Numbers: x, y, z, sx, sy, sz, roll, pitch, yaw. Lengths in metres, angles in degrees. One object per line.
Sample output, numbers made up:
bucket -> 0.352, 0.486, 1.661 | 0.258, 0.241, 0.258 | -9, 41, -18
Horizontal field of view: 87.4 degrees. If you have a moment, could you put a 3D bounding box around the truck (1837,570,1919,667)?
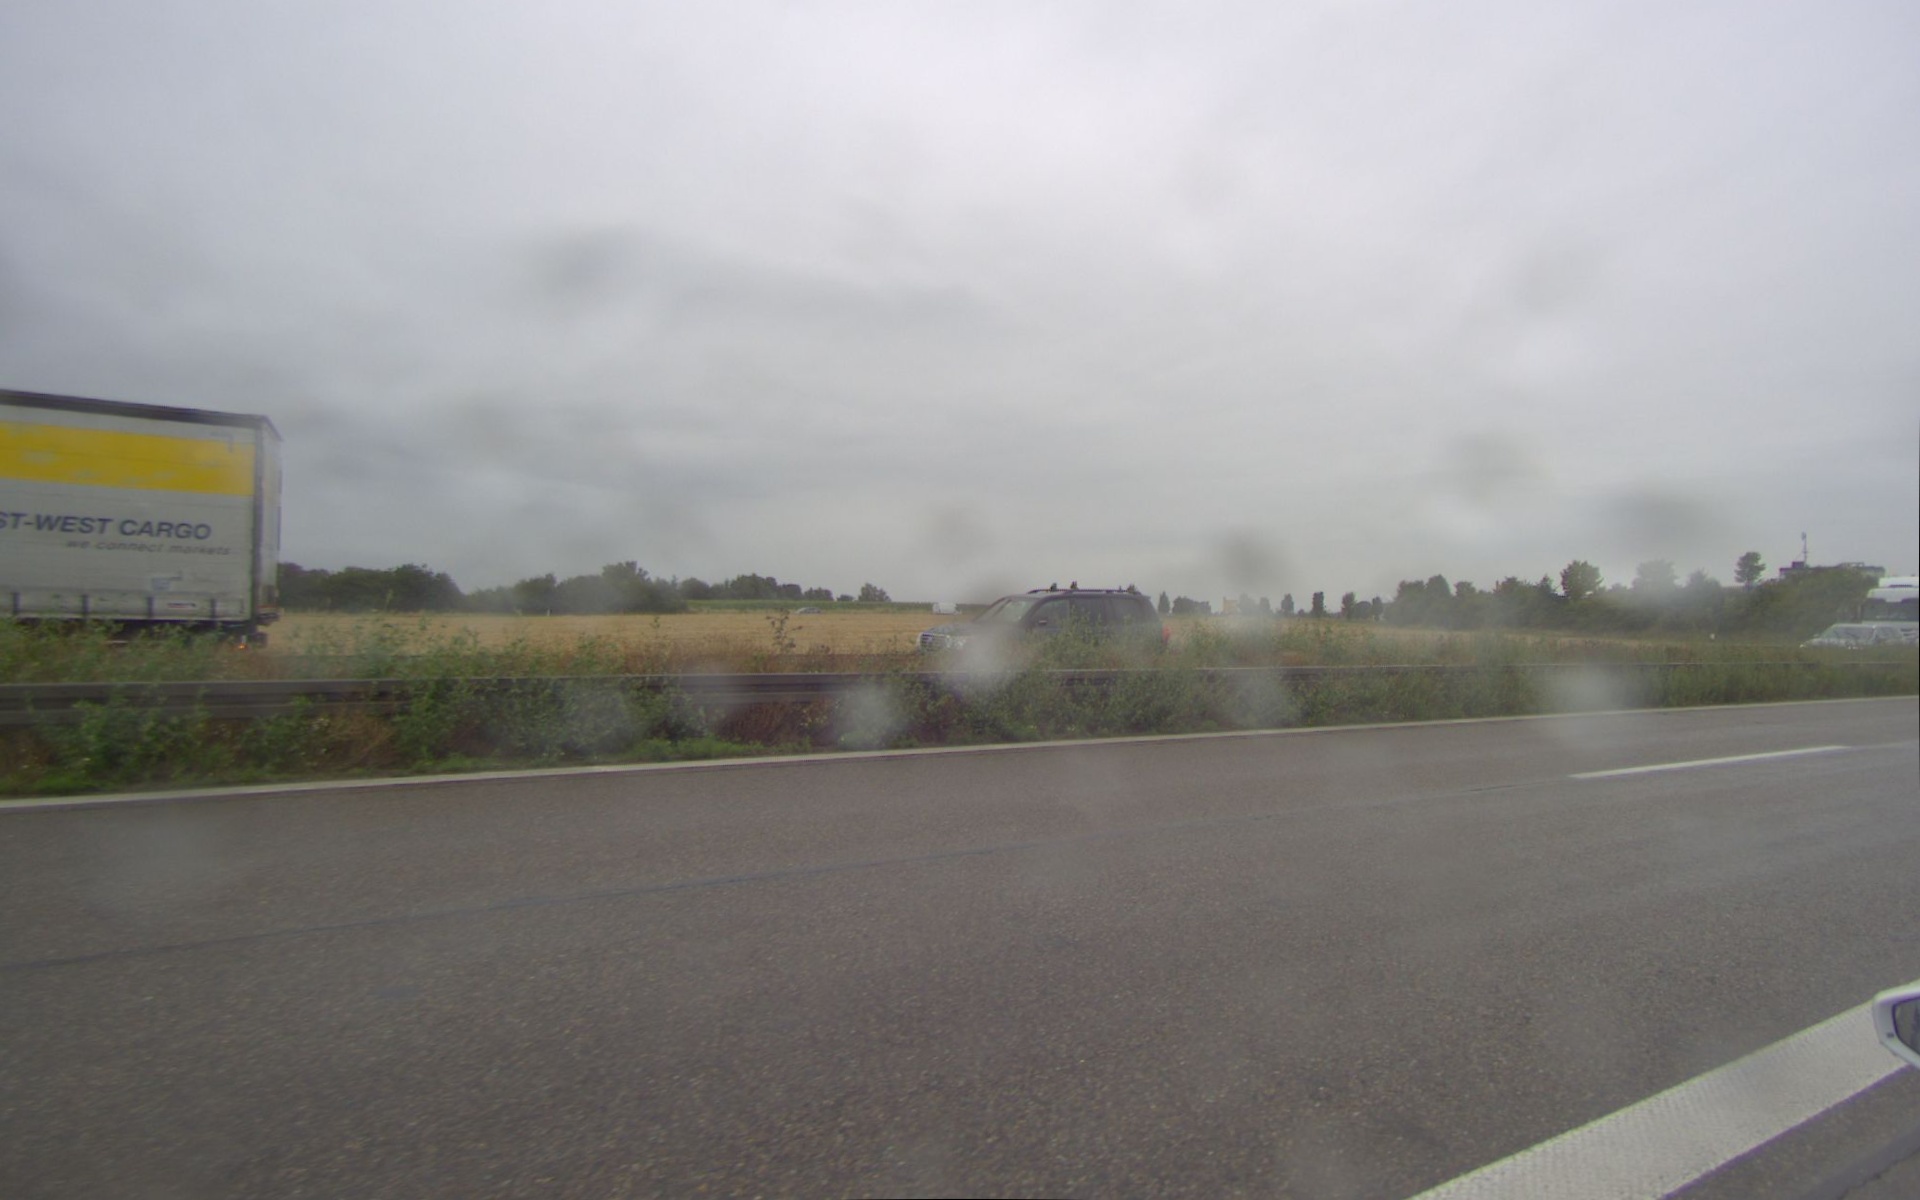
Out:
truck -> 47.716, 0.992, 49.809 | 10.390, 4.443, 3.214 | 2, -1, -30

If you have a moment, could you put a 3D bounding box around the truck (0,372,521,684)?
truck -> -14.385, -1.028, 13.639 | 15.137, 4.020, 3.179 | 2, 2, -30

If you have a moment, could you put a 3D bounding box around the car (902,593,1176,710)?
car -> 1.485, 0.897, 18.366 | 4.645, 1.900, 2.095 | 2, -1, -30
